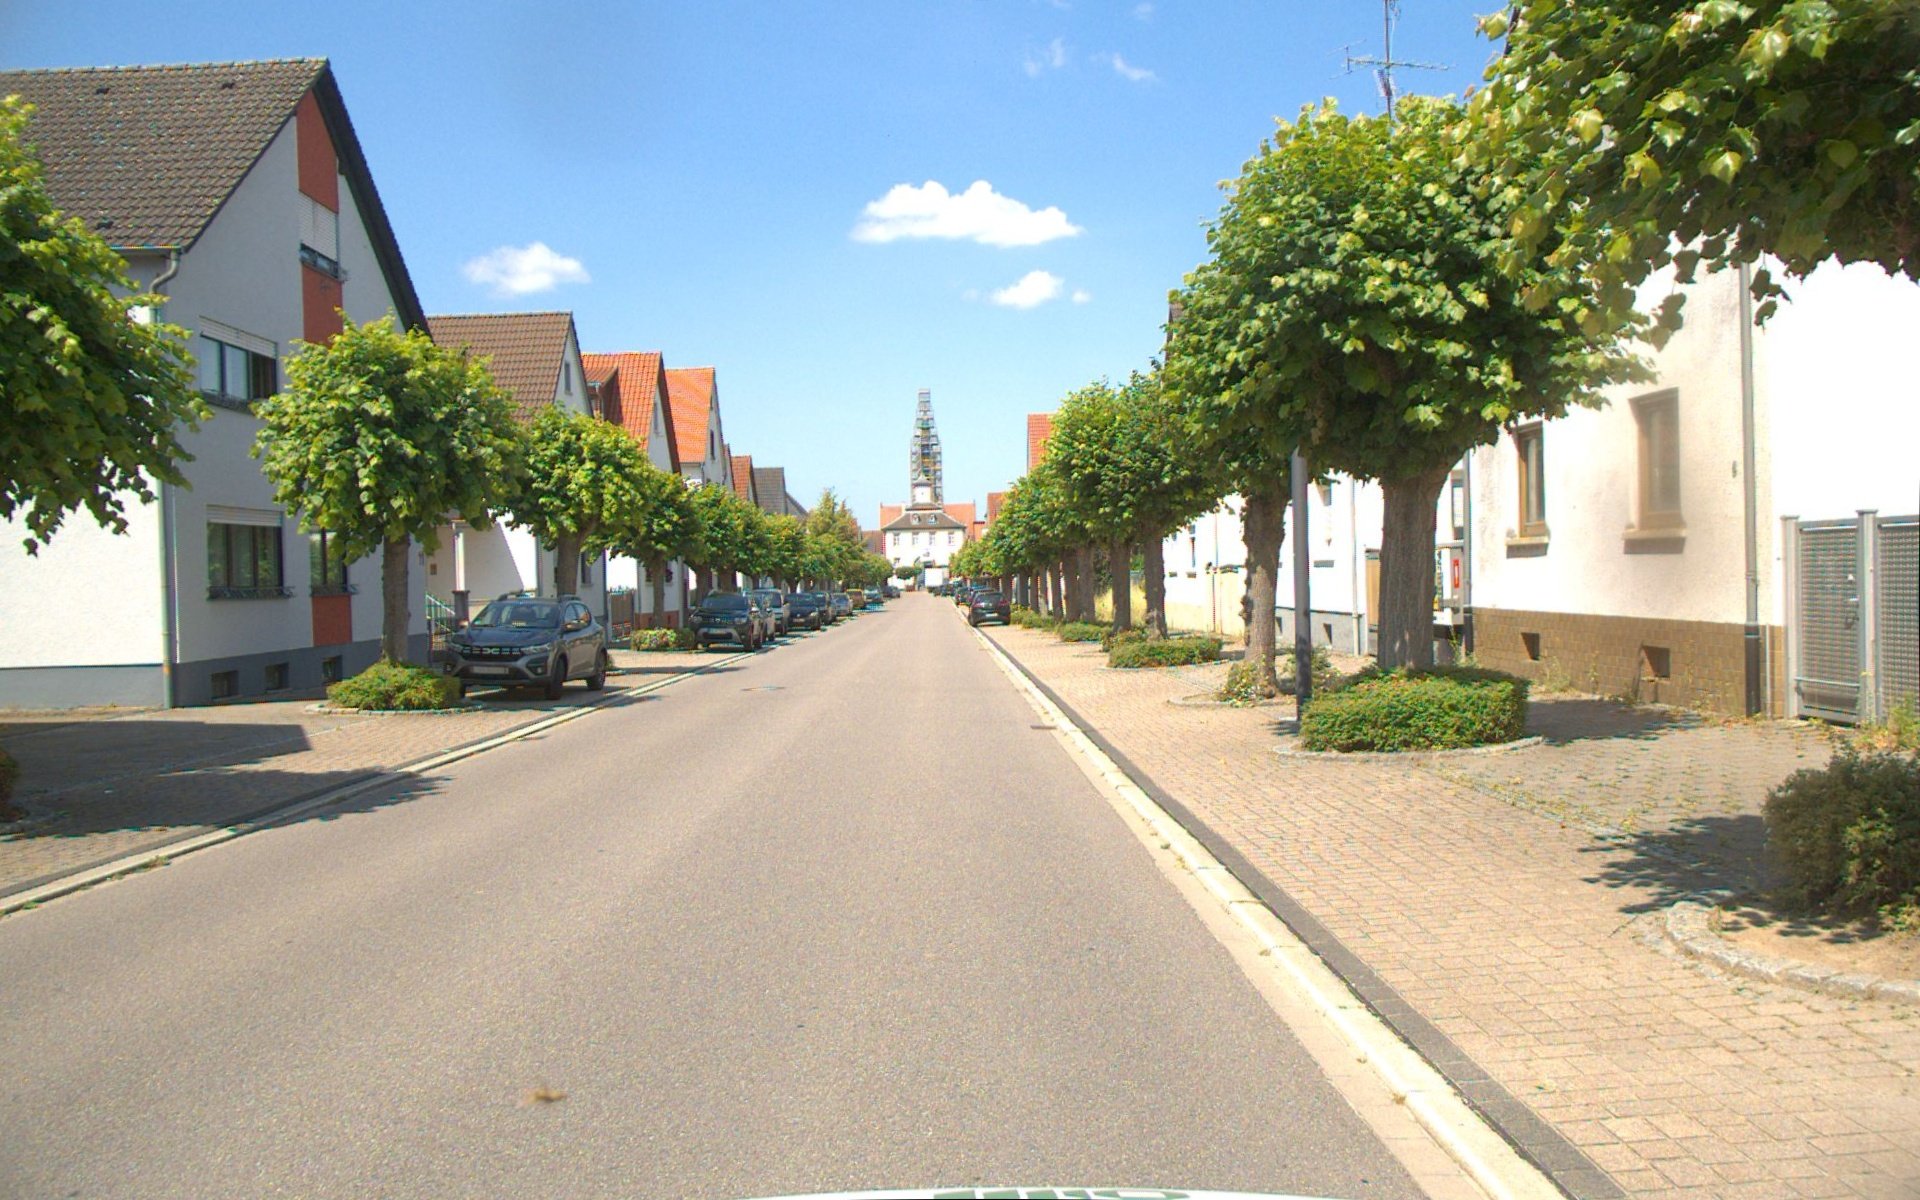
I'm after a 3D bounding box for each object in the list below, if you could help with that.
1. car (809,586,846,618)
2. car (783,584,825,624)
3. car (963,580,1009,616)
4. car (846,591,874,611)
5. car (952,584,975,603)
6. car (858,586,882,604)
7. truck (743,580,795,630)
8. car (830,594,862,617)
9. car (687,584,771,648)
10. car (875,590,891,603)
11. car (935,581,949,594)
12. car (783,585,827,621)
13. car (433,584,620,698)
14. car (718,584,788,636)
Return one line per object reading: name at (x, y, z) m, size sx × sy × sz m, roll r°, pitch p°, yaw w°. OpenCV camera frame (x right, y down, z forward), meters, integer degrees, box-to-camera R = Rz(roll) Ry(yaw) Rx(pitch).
car at (-7.171, 0.094, 89.604) m, size 1.954 × 1.681 × 4.364 m, roll 0°, pitch 0°, yaw -4°
car at (-6.774, 0.156, 71.488) m, size 1.751 × 1.662 × 3.994 m, roll 0°, pitch 0°, yaw -6°
car at (1.107, -0.113, 72.085) m, size 1.787 × 1.457 × 4.056 m, roll -3°, pitch 1°, yaw -1°
car at (-8.103, 0.068, 134.098) m, size 1.953 × 1.639 × 4.689 m, roll 1°, pitch 0°, yaw 0°
car at (0.283, -0.575, 141.782) m, size 1.800 × 1.582 × 4.312 m, roll -2°, pitch 0°, yaw -1°
car at (-8.433, -0.479, 155.987) m, size 1.953 × 1.639 × 4.689 m, roll 2°, pitch 1°, yaw 0°
truck at (-7.267, 0.184, 63.161) m, size 1.544 × 1.796 × 4.191 m, roll 1°, pitch 0°, yaw -1°
car at (-7.171, 0.316, 104.365) m, size 1.803 × 1.420 × 4.405 m, roll 0°, pitch 0°, yaw -1°
car at (-6.497, 0.422, 46.992) m, size 1.815 × 1.665 × 4.298 m, roll 2°, pitch 1°, yaw -1°
car at (-9.294, -0.420, 198.732) m, size 1.722 × 1.582 × 4.020 m, roll -1°, pitch 0°, yaw 0°
car at (-2.220, -1.509, 199.902) m, size 1.694 × 1.574 × 3.454 m, roll 1°, pitch 0°, yaw -1°
car at (-7.459, 0.162, 79.944) m, size 1.815 × 1.664 × 4.056 m, roll 1°, pitch 0°, yaw -1°
car at (-6.821, 0.596, 26.479) m, size 1.815 × 1.641 × 4.135 m, roll 1°, pitch 0°, yaw 1°
car at (-6.845, 0.323, 55.134) m, size 1.815 × 1.641 × 4.369 m, roll 1°, pitch 0°, yaw -1°
